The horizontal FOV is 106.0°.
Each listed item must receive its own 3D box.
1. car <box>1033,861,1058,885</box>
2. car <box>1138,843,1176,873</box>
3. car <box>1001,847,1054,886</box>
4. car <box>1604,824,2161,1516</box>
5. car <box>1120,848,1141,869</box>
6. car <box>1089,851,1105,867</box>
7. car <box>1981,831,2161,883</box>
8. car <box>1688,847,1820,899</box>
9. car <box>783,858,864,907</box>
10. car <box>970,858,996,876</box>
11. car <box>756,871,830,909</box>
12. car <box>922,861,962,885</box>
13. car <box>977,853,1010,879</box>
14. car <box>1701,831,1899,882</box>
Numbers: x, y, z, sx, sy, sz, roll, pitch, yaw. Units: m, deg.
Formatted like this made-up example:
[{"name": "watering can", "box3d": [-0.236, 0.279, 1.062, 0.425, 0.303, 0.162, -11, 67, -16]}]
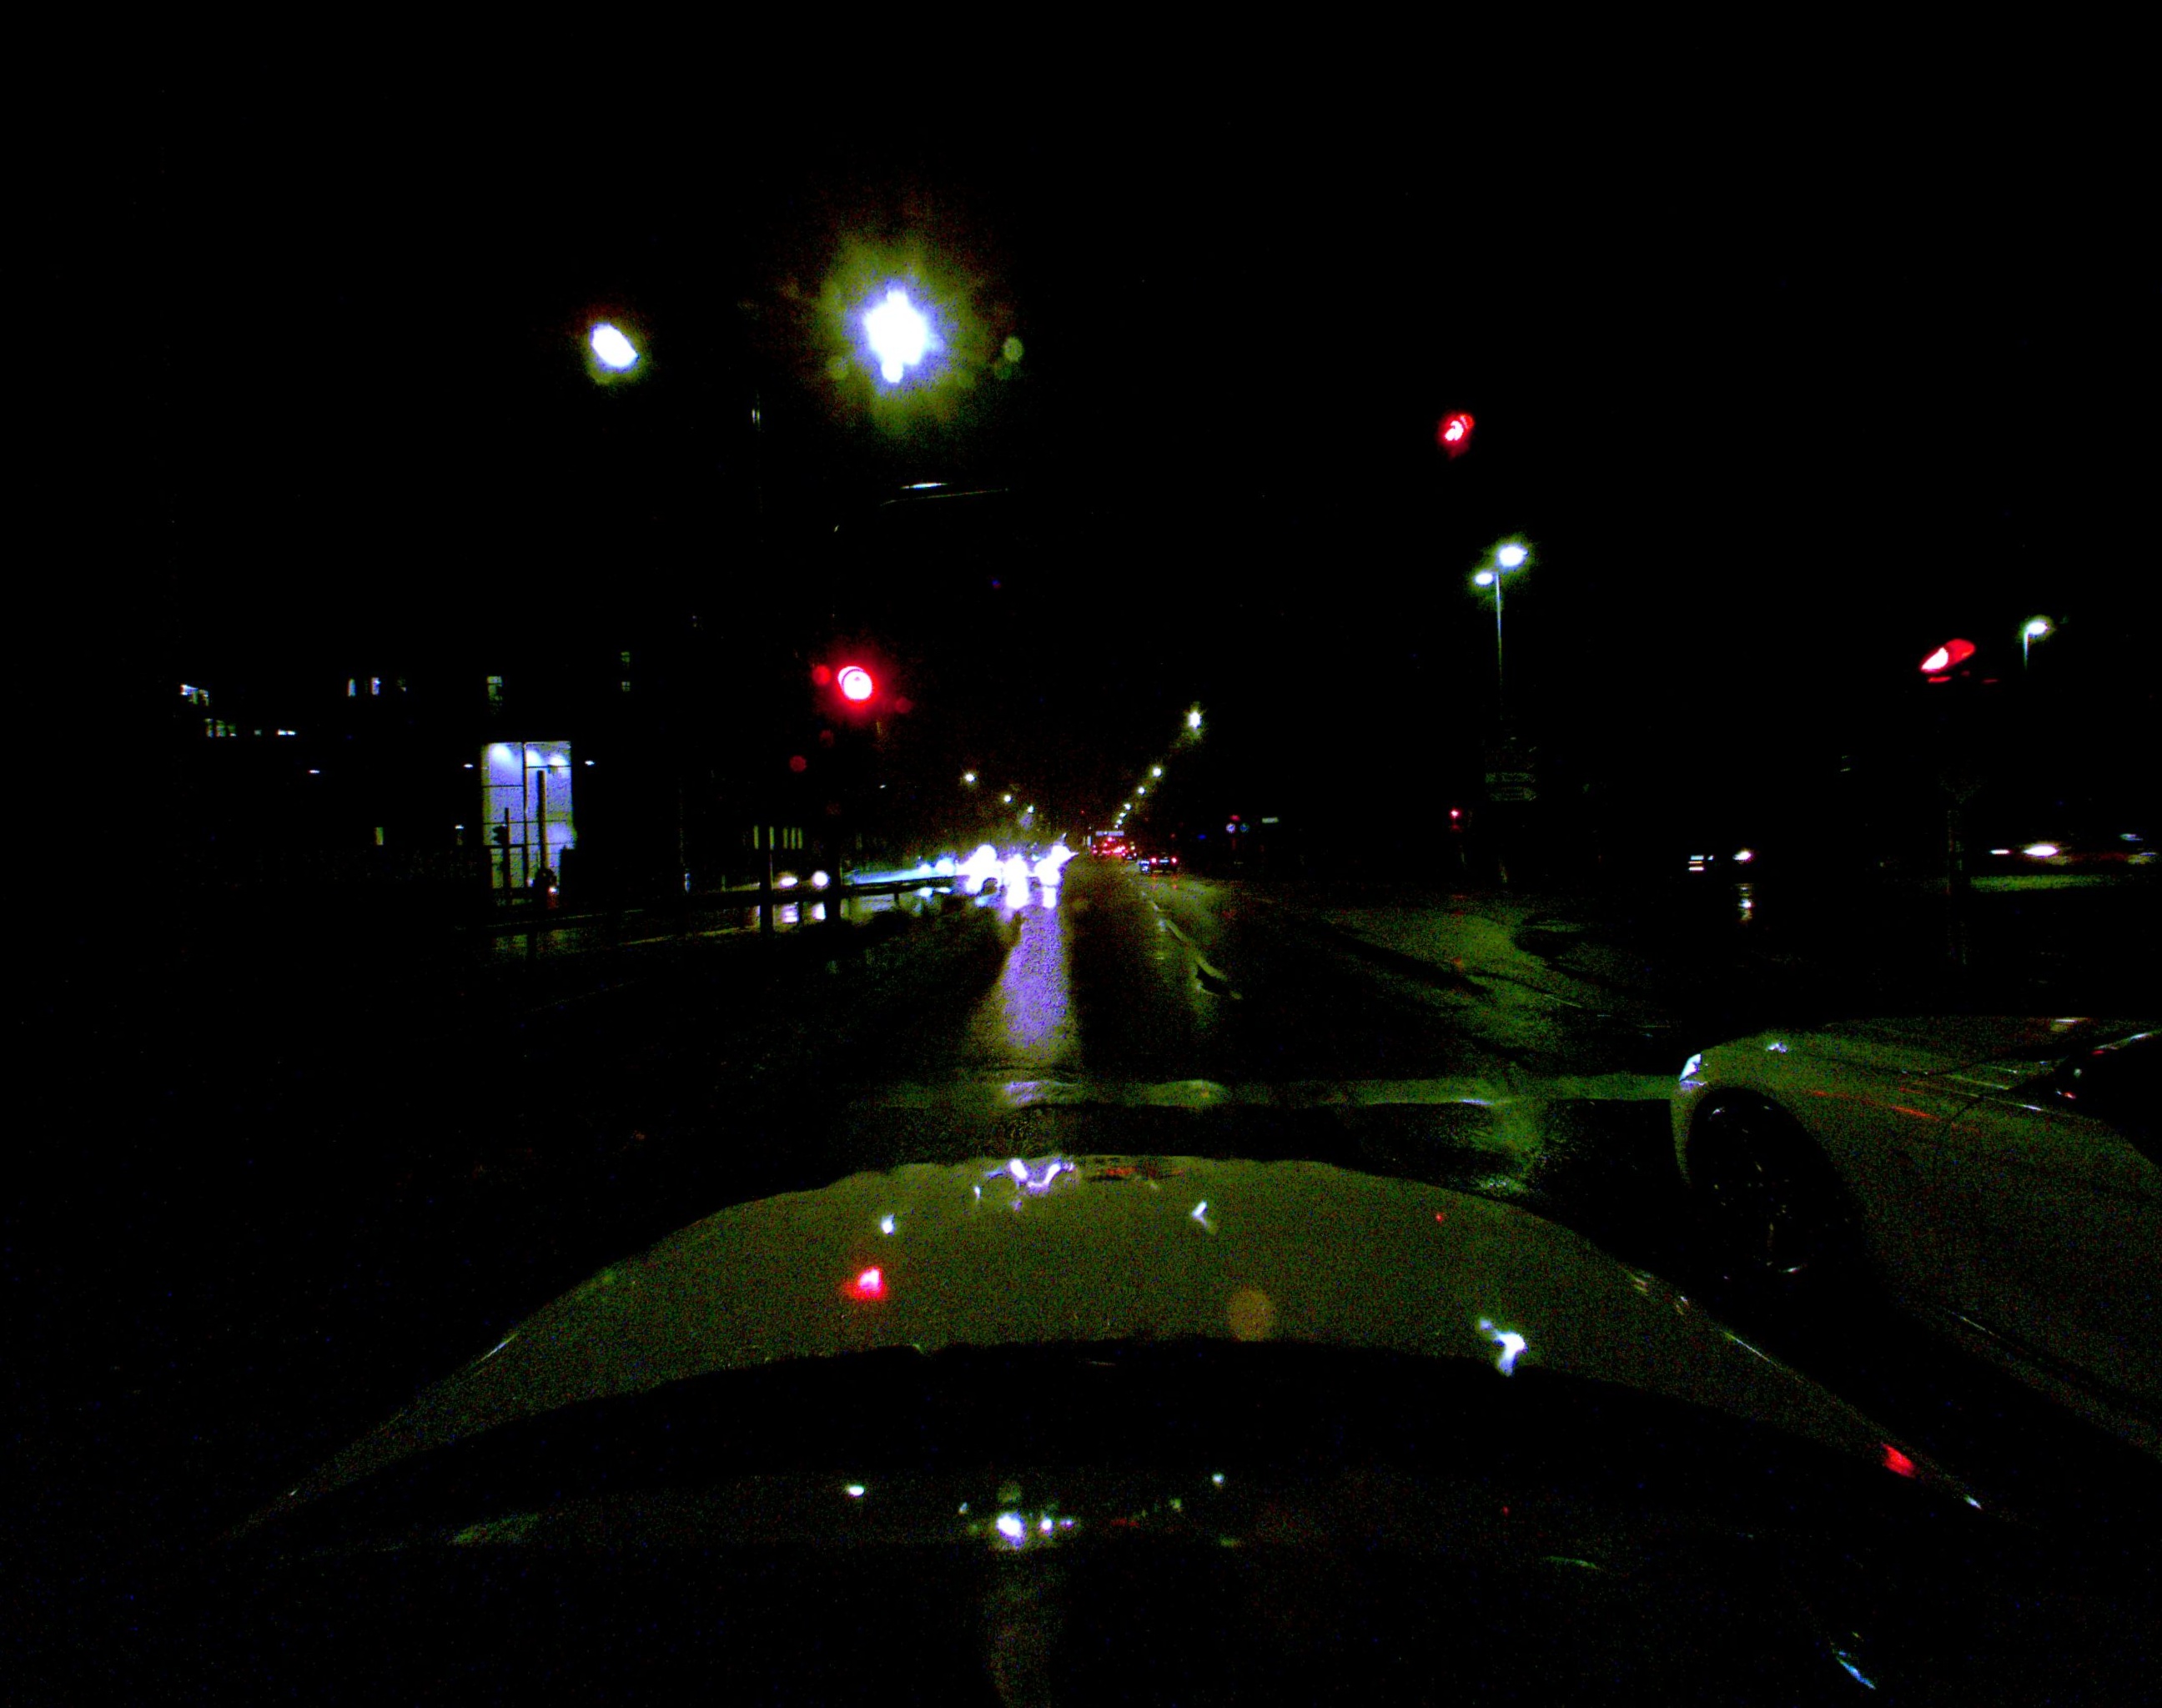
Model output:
[{"name": "car", "box3d": [-3.260, 1.723, 75.064, 1.986, 2.014, 4.001, -2, 0, 2]}, {"name": "car", "box3d": [4.806, 0.288, 51.994, 1.898, 1.780, 3.996, -1, -1, -3]}, {"name": "car", "box3d": [-2.361, 0.559, 37.345, 1.986, 1.610, 4.971, -1, -1, 1]}, {"name": "car", "box3d": [3.120, 0.643, 1.319, 1.714, 1.446, 4.383, -3, -1, 1]}, {"name": "car", "box3d": [5.453, 0.484, 90.648, 2.200, 2.215, 3.644, -1, -1, 2]}, {"name": "car", "box3d": [2.181, 0.711, 107.888, 1.986, 2.014, 4.001, -1, -1, 2]}, {"name": "car", "box3d": [36.300, 0.112, 29.729, 4.312, 1.755, 1.990, -1, -1, 9]}, {"name": "car", "box3d": [25.087, 0.693, 30.452, 3.398, 1.838, 1.691, -1, -1, 8]}, {"name": "car", "box3d": [-10.003, 1.065, 32.026, 1.745, 1.709, 4.496, -3, -1, -1]}, {"name": "car", "box3d": [-9.432, 1.238, 78.657, 1.764, 1.569, 4.333, -2, -1, 2]}, {"name": "car", "box3d": [-12.939, 1.581, 36.856, 1.794, 1.564, 4.001, -1, -1, 2]}, {"name": "car", "box3d": [-9.568, 1.271, 56.307, 1.878, 1.552, 4.435, -1, -1, 2]}, {"name": "car", "box3d": [-6.544, 0.871, 61.277, 1.776, 1.816, 4.002, -2, -1, 2]}, {"name": "car", "box3d": [24.282, 0.099, 27.681, 4.823, 1.590, 1.857, -1, -1, 8]}]
